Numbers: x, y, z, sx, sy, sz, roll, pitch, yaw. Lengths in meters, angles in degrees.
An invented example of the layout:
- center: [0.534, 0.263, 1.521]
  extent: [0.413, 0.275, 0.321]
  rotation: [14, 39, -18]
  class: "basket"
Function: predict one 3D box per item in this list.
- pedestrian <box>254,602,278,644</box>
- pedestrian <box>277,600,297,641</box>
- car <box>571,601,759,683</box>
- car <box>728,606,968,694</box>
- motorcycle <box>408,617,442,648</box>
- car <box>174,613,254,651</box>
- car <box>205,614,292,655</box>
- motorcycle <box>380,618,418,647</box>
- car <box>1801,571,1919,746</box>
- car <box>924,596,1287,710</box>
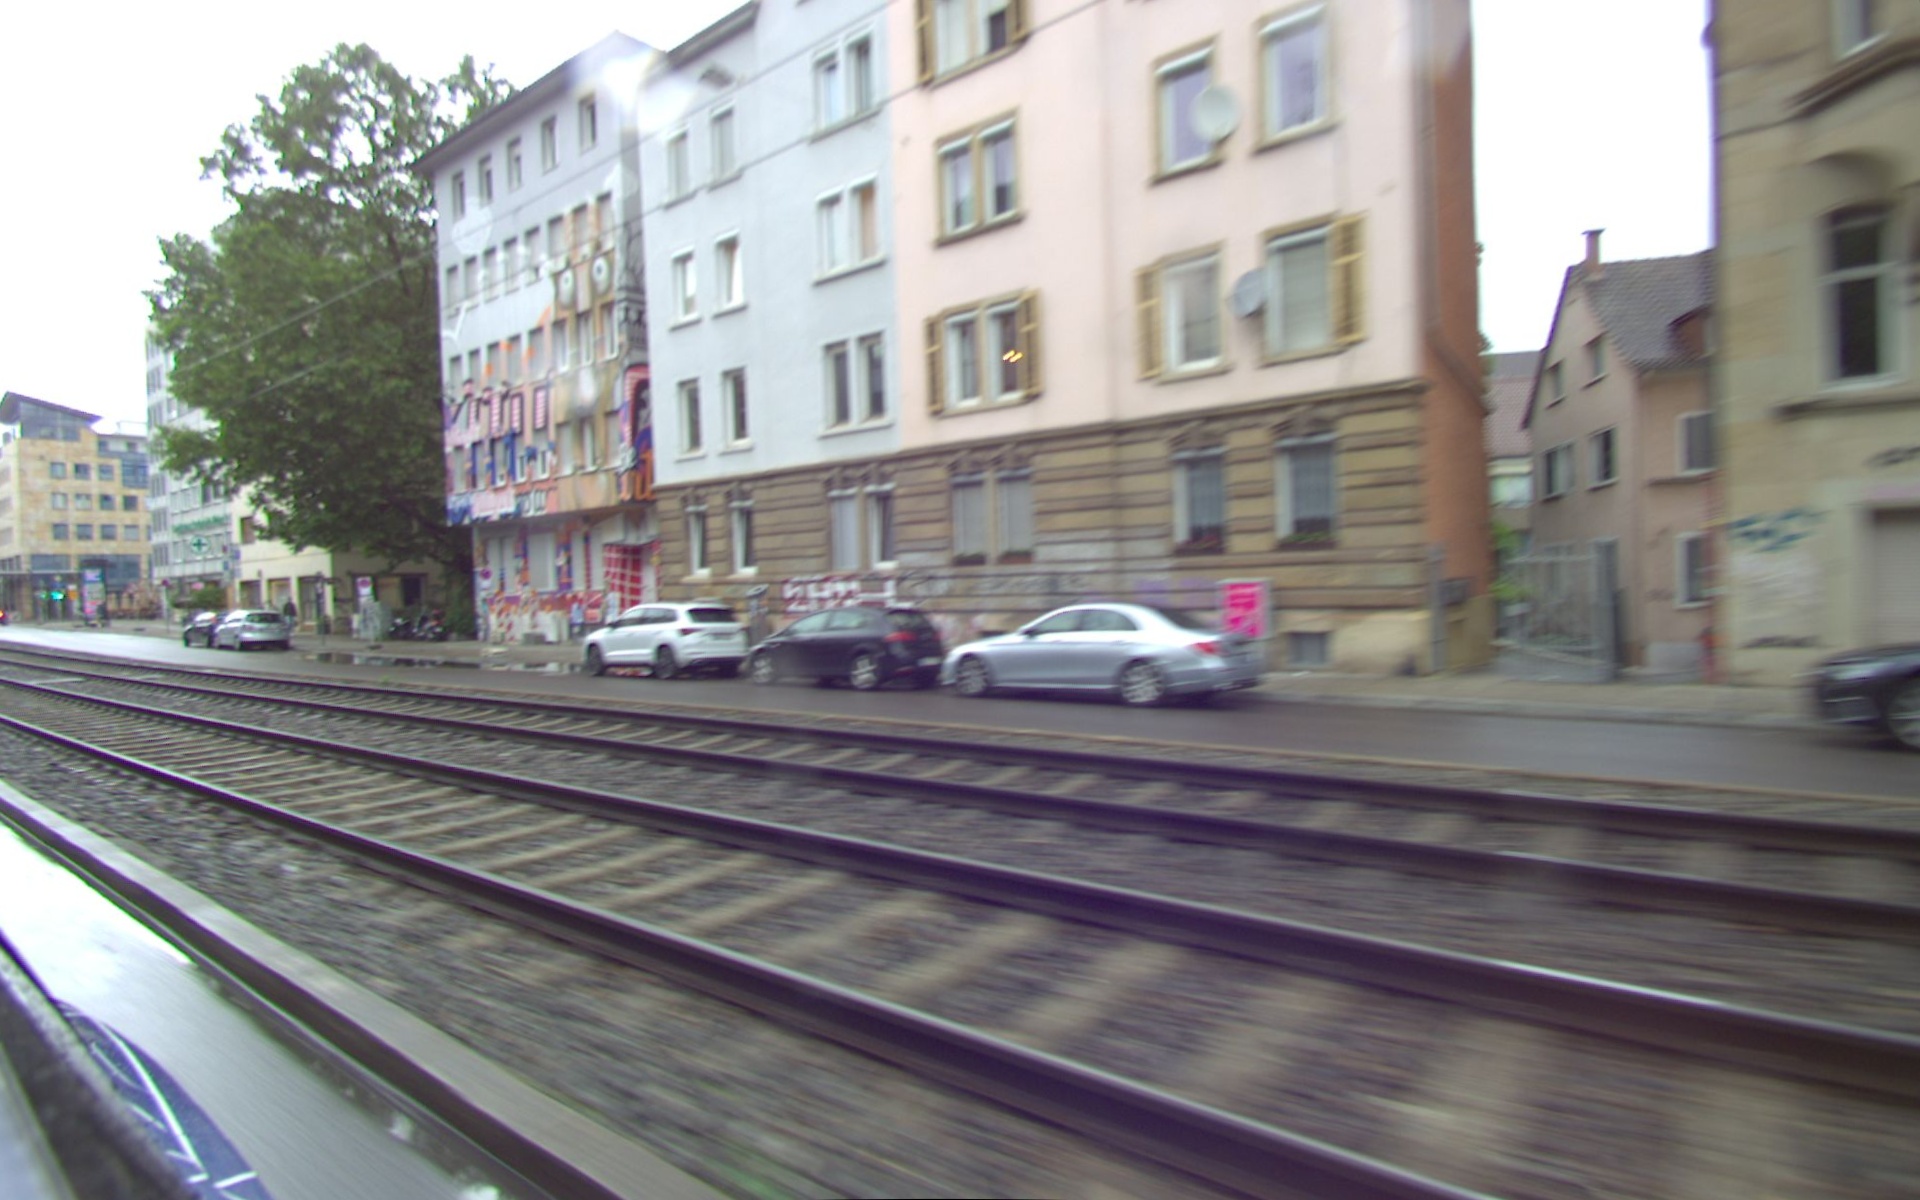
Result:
- center: [-31.926, 1.042, 46.554]
  extent: [0.536, 1.883, 0.798]
  rotation: [-2, -1, 43]
  class: "pedestrian"
- center: [-31.318, 0.969, 47.123]
  extent: [0.536, 1.883, 0.642]
  rotation: [-2, -1, 43]
  class: "pedestrian"
- center: [-6.470, 0.885, 22.019]
  extent: [4.222, 1.617, 1.820]
  rotation: [-1, -1, 38]
  class: "car"
- center: [-2.089, 0.842, 18.278]
  extent: [4.260, 1.408, 1.820]
  rotation: [-1, -1, 38]
  class: "car"
- center: [-21.269, 1.296, 40.191]
  extent: [2.016, 1.190, 0.432]
  rotation: [-2, 0, 40]
  class: "motorcycle"
- center: [-31.943, 1.349, 43.297]
  extent: [4.225, 1.553, 1.819]
  rotation: [-2, -1, 40]
  class: "car"
- center: [-28.332, 1.347, 40.262]
  extent: [4.225, 1.553, 1.819]
  rotation: [-2, -1, 40]
  class: "car"
- center: [-23.232, 1.337, 41.888]
  extent: [2.564, 1.154, 0.467]
  rotation: [-2, 0, 40]
  class: "motorcycle"
- center: [10.100, 0.485, 8.160]
  extent: [5.016, 1.467, 1.974]
  rotation: [-1, -3, 39]
  class: "car"
- center: [1.983, 0.734, 14.876]
  extent: [5.018, 1.408, 1.973]
  rotation: [-1, -3, 40]
  class: "car"
